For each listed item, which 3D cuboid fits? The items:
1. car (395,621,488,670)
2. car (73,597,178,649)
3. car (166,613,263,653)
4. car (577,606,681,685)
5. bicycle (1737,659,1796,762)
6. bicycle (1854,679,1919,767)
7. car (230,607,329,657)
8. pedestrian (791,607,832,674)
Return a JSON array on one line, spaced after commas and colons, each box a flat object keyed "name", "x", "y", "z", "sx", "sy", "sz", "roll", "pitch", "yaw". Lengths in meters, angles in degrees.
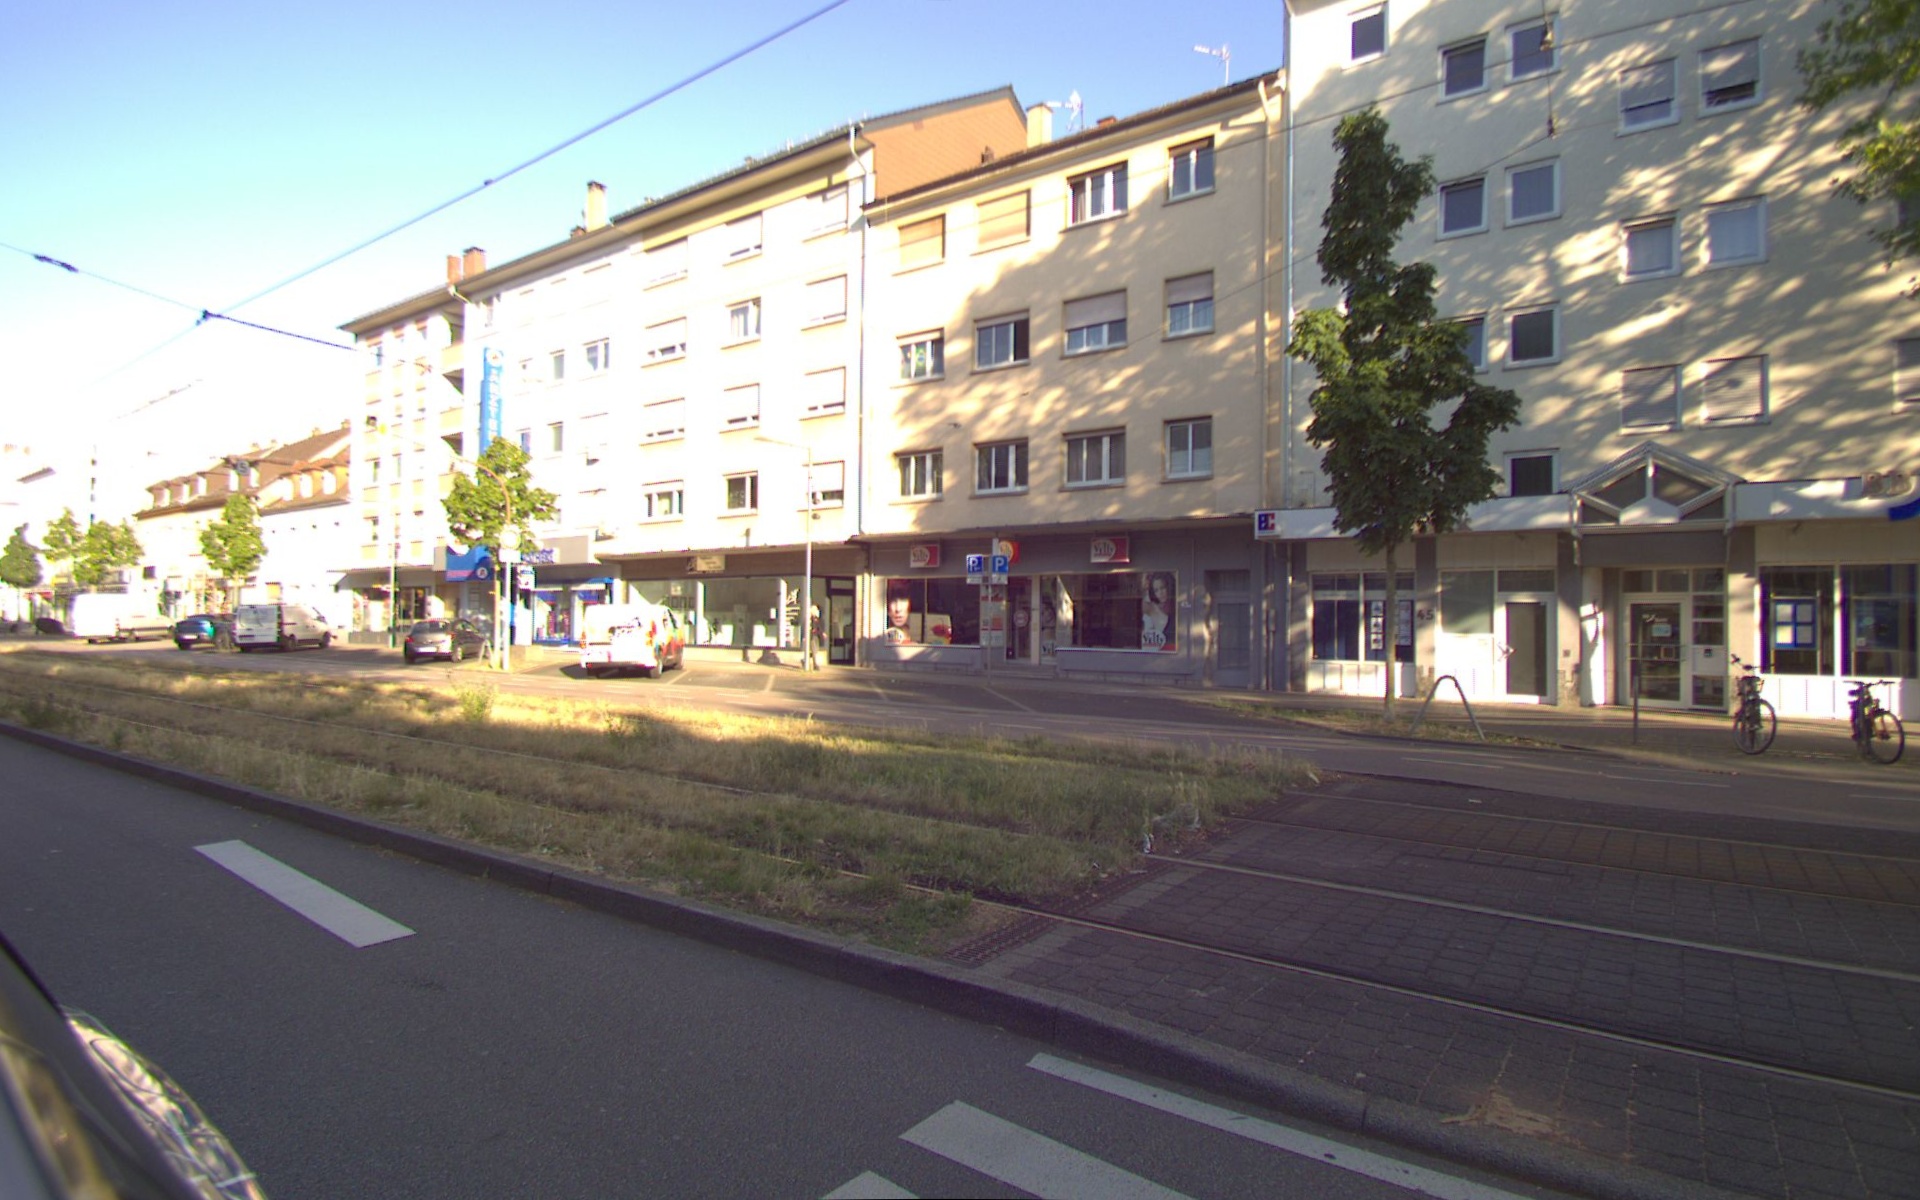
[{"name": "car", "x": -17.499, "y": 1.498, "z": 34.337, "sx": 1.708, "sy": 1.508, "sz": 4.009, "roll": 0, "pitch": 0, "yaw": -10}, {"name": "car", "x": -45.223, "y": 1.203, "z": 55.087, "sx": 1.895, "sy": 2.634, "sz": 6.608, "roll": 0, "pitch": 0, "yaw": -16}, {"name": "car", "x": -34.265, "y": 1.496, "z": 46.648, "sx": 1.830, "sy": 1.727, "sz": 3.919, "roll": 0, "pitch": 0, "yaw": -4}, {"name": "car", "x": -8.767, "y": 1.137, "z": 27.117, "sx": 1.830, "sy": 1.913, "sz": 4.005, "roll": 0, "pitch": 0, "yaw": -6}, {"name": "bicycle", "x": 10.313, "y": 1.372, "z": 12.973, "sx": 0.511, "sy": 1.147, "sz": 1.724, "roll": -1, "pitch": -1, "yaw": 36}, {"name": "bicycle", "x": 11.375, "y": 1.474, "z": 12.389, "sx": 0.471, "sy": 0.895, "sz": 1.724, "roll": -1, "pitch": -1, "yaw": 36}, {"name": "car", "x": -28.619, "y": 1.292, "z": 42.739, "sx": 1.828, "sy": 1.952, "sz": 4.514, "roll": 0, "pitch": 0, "yaw": -10}, {"name": "pedestrian", "x": -4.169, "y": 1.118, "z": 28.442, "sx": 0.916, "sy": 1.841, "sz": 0.747, "roll": -1, "pitch": -1, "yaw": 41}]
